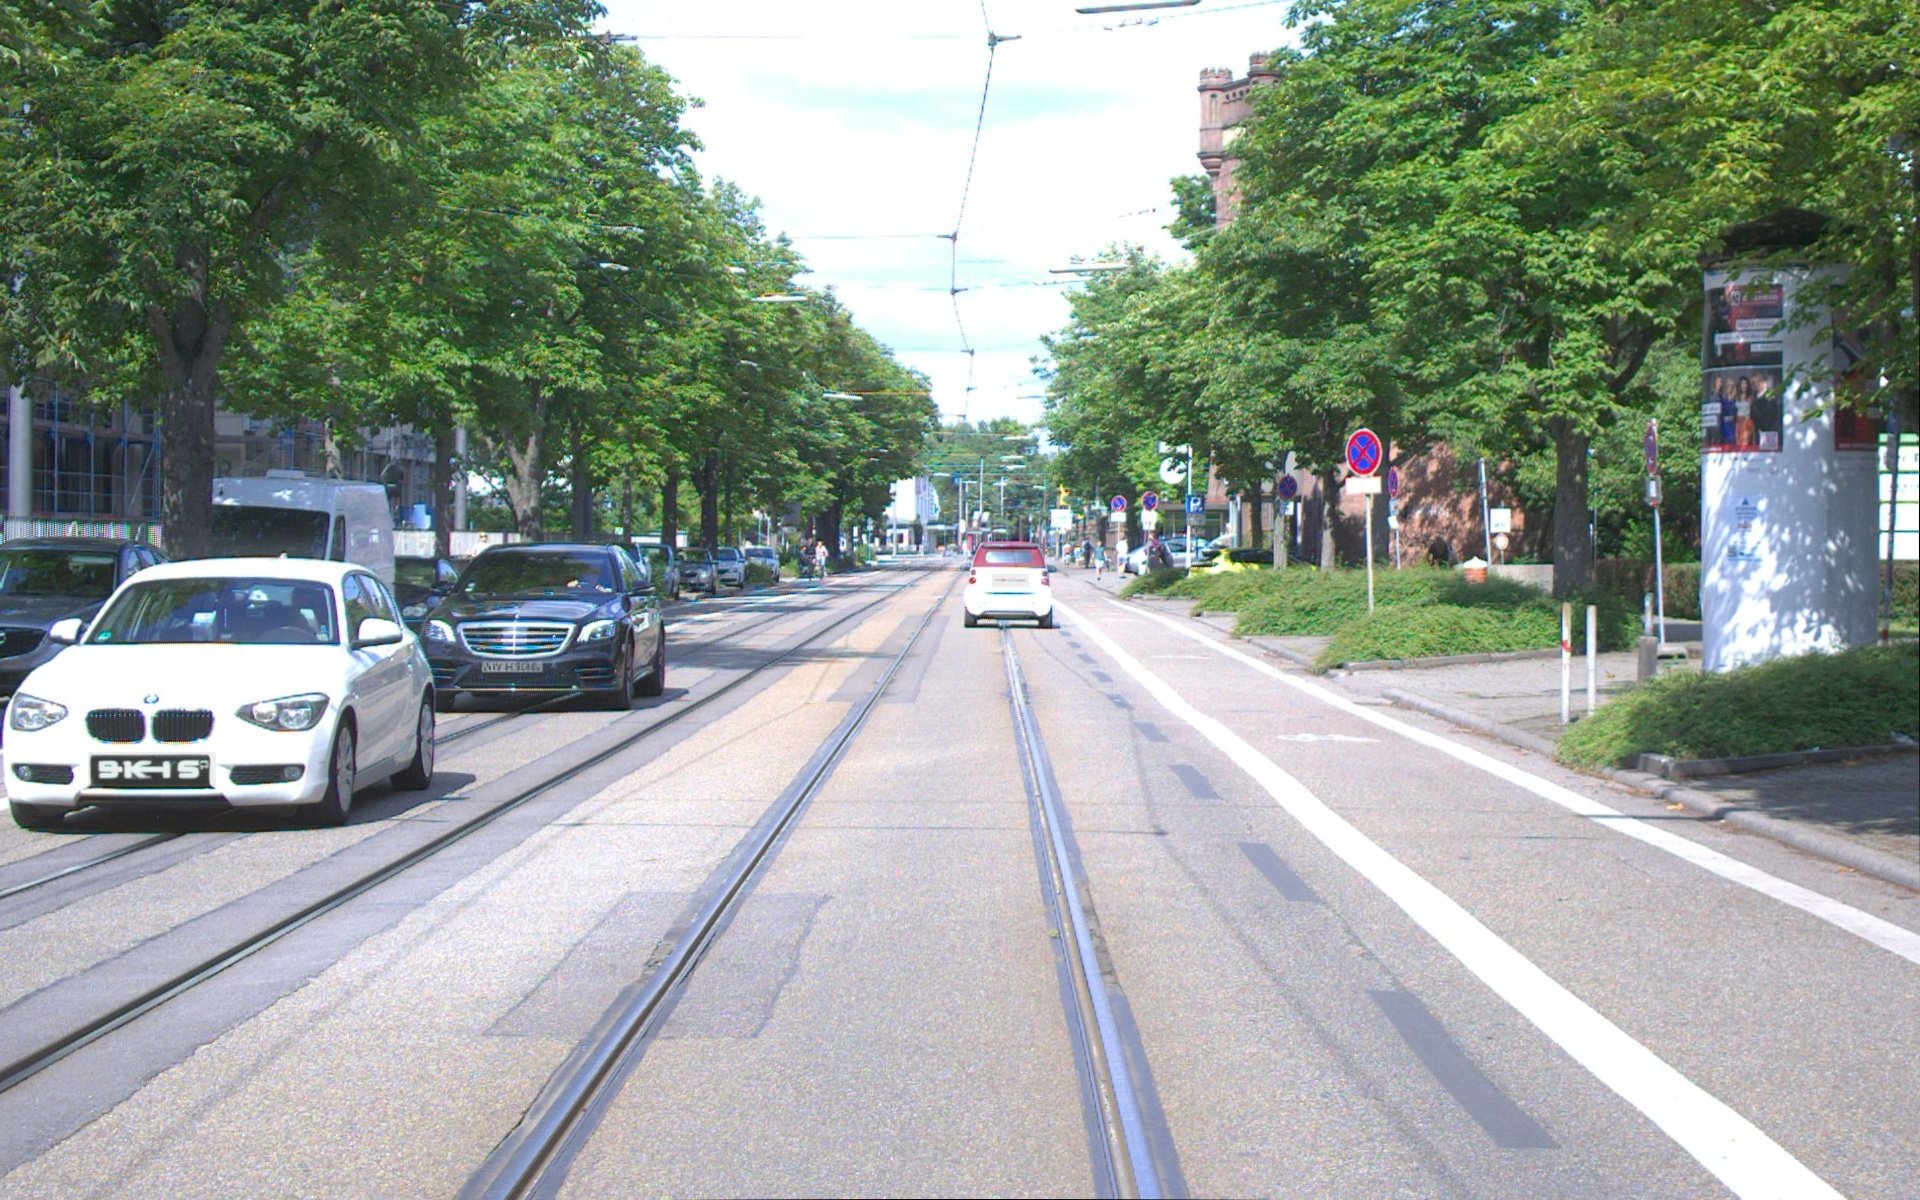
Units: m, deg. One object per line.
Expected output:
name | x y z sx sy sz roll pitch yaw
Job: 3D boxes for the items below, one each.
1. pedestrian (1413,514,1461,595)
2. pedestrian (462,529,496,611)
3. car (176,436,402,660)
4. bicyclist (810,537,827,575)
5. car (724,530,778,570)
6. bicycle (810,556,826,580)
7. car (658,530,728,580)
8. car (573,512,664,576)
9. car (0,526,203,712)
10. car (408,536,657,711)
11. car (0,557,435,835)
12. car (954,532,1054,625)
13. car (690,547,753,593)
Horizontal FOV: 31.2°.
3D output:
pedestrian | 12.031 -1.147 86.785 0.977 2.007 1.093 2 1 -1
pedestrian | -11.942 -0.746 85.335 0.802 2.007 0.485 0 1 -8
car | -8.506 -0.660 44.033 1.769 2.630 5.322 2 1 0
bicyclist | -5.953 -1.832 144.615 0.658 1.574 0.946 2 1 -1
car | -7.974 -1.917 131.375 1.804 1.511 4.103 1 1 0
bicycle | -5.971 -1.336 144.601 0.618 0.970 1.717 1 1 -2
car | -8.266 -1.406 106.706 1.804 1.511 4.103 1 1 0
car | -8.395 -1.385 84.775 1.804 1.511 4.103 1 1 0
car | -8.735 0.129 33.371 1.804 1.656 4.103 2 1 0
car | -3.935 0.172 32.306 1.800 1.503 4.536 1 1 -1
car | -4.070 0.459 19.468 1.686 1.401 4.227 0 1 -2
car | 0.770 -0.411 62.181 1.665 1.619 3.621 0 1 -2
car | -8.261 -1.056 119.308 1.804 1.511 4.103 2 1 0
